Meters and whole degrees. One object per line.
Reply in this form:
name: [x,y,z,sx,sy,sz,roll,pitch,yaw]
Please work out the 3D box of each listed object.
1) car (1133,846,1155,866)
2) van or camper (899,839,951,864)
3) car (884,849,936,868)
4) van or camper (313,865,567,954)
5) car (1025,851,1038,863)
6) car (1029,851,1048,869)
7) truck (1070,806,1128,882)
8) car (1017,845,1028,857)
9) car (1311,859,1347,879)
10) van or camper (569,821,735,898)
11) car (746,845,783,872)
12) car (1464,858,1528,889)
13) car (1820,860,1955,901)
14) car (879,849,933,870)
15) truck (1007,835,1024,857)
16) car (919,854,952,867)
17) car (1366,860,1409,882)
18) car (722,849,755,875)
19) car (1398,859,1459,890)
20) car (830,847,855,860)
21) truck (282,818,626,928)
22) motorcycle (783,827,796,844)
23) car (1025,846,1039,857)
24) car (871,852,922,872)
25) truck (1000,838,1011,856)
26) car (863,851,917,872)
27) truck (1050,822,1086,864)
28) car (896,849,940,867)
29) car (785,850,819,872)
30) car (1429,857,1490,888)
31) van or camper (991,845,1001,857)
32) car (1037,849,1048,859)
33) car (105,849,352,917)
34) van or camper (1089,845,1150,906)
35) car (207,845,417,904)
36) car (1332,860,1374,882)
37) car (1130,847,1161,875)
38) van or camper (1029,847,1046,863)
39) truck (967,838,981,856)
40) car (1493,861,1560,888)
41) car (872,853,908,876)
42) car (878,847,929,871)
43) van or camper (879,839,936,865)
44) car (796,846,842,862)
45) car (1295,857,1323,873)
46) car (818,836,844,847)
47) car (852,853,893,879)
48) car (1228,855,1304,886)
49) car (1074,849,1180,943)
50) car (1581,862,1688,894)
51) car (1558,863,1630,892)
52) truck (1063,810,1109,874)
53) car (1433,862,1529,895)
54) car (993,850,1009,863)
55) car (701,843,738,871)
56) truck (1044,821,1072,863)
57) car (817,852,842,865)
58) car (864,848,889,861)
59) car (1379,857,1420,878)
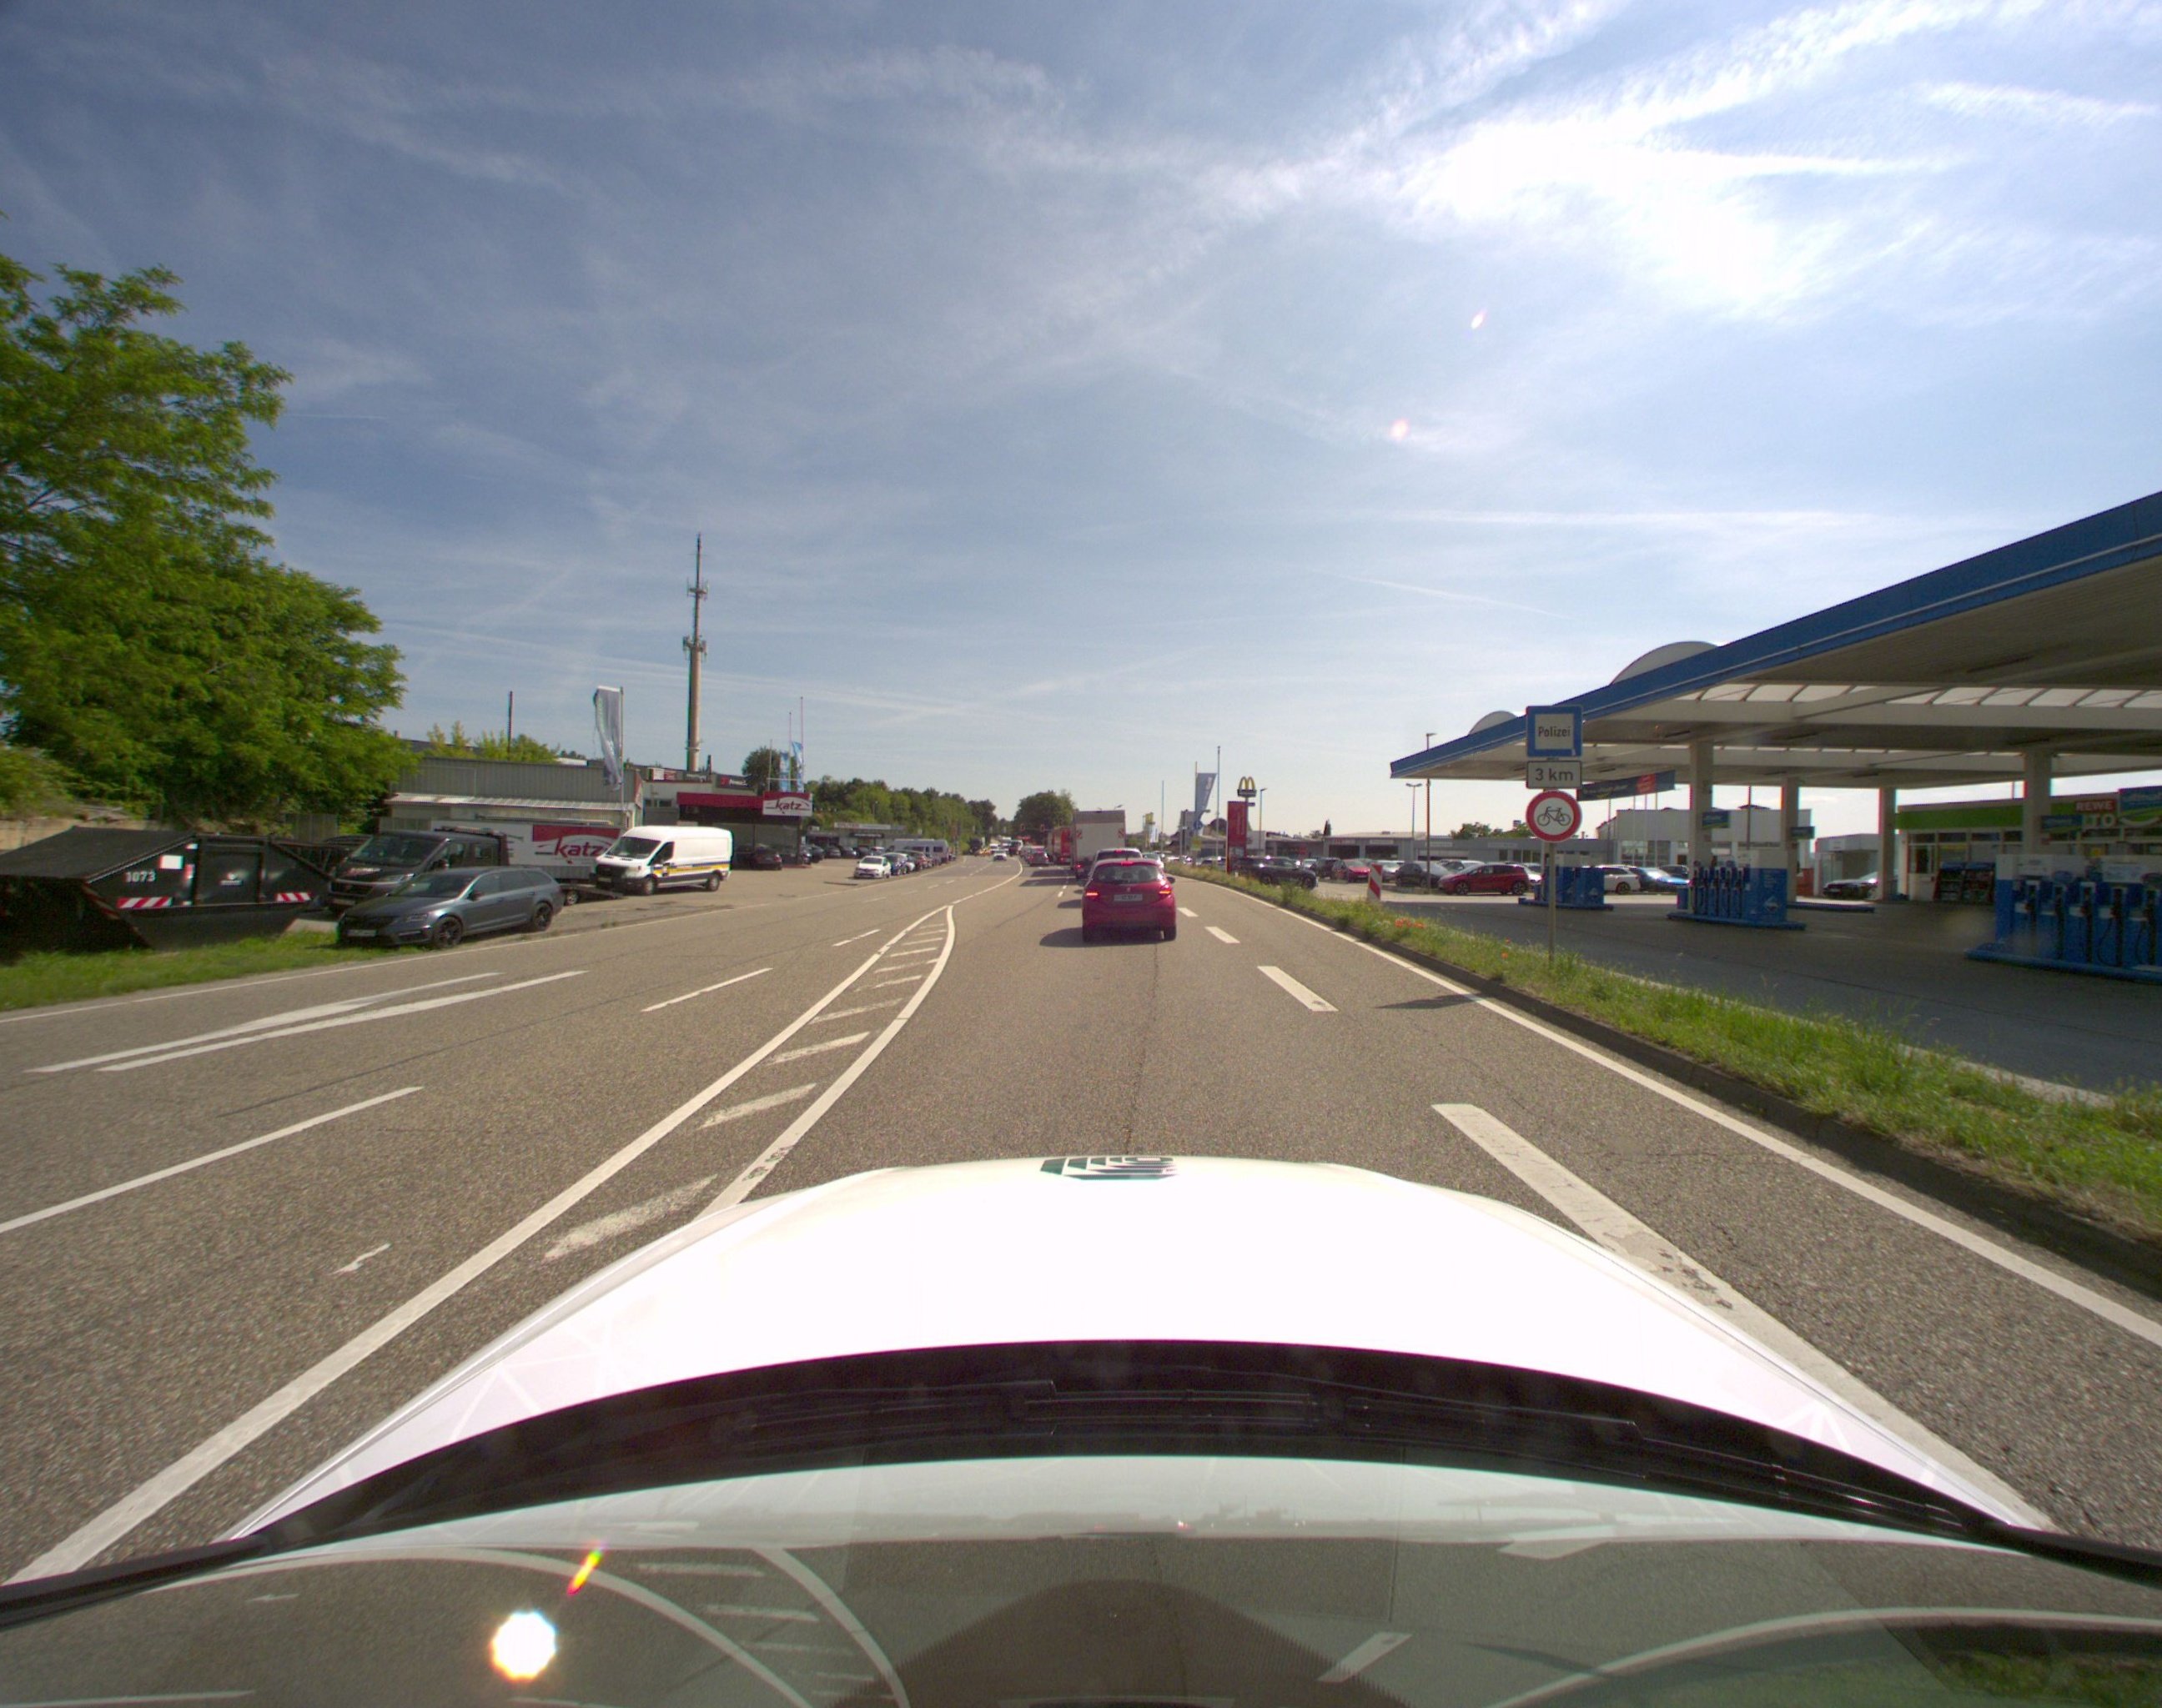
car: [5.973,0.198,77.700,1.985,1.750,4.004,1,0,4]
van or camper: [-16.820,-0.267,87.972,5.234,2.731,2.208,0,0,-4]
car: [-15.684,0.423,74.965,4.453,1.484,1.768,4,0,-7]
van or camper: [-13.004,1.026,16.966,1.634,1.524,4.468,1,0,1]
car: [-6.393,0.440,105.259,1.723,1.519,3.307,1,0,-4]
car: [-4.110,0.582,79.173,1.785,1.638,3.502,0,0,-1]
truck: [0.801,-0.515,46.335,2.871,3.811,11.136,0,0,-1]
car: [-9.918,-0.491,138.011,1.722,1.909,3.310,1,0,-1]
car: [18.608,1.101,61.263,1.554,1.409,3.593,-1,0,-2]
van or camper: [-15.944,0.170,30.803,2.141,2.499,5.968,4,1,11]
car: [-21.149,0.270,54.355,1.863,1.504,4.359,3,1,-26]
car: [23.702,1.085,46.707,1.609,1.594,3.858,-1,0,-2]
car: [34.117,1.097,34.531,3.971,1.637,1.755,1,0,2]
car: [-15.082,0.443,70.268,4.272,1.484,1.832,4,0,-7]
truck: [-12.805,-1.602,160.228,2.950,4.208,10.634,-2,1,-3]
car: [-17.486,0.753,97.928,3.811,1.539,1.839,0,0,-6]
car: [21.098,1.140,56.169,1.554,1.409,3.593,-1,0,-2]
car: [-24.994,0.572,59.403,1.709,1.759,3.726,4,-1,-29]
car: [18.905,1.087,44.503,1.609,1.594,3.858,-1,0,-2]
car: [-29.605,-0.019,101.107,1.777,1.588,3.786,-1,0,-38]
truck: [-16.572,0.411,22.723,2.321,2.297,8.808,5,0,2]
motorcycle: [-22.544,-1.411,62.934,0.773,1.261,2.038,0,0,-25]
car: [-6.966,-0.380,115.432,1.721,1.519,3.312,1,0,0]
car: [-14.610,0.630,64.599,3.703,1.525,1.788,-1,0,-7]
truck: [-18.724,-1.783,203.132,2.548,4.307,7.583,-1,1,-5]
car: [-14.629,0.551,62.440,3.791,1.525,1.843,0,0,-7]
truck: [-1.644,-1.149,91.236,2.952,4.269,16.557,0,0,-5]
car: [-15.558,0.358,77.926,3.840,1.484,1.798,4,0,-7]
car: [-23.144,0.595,67.550,1.832,1.675,4.088,6,-4,-29]
car: [21.260,1.015,45.936,1.554,1.594,3.858,-1,0,-2]
van or camper: [-18.537,-0.695,177.187,2.170,2.551,4.163,1,0,-5]
car: [-6.370,-0.012,134.118,1.724,1.519,3.306,1,-1,-5]
car: [-19.962,0.657,19.257,3.662,1.511,1.710,0,0,-13]
van or camper: [1.162,0.637,26.529,1.741,1.787,5.133,0,0,0]
car: [-20.364,0.515,21.765,3.673,1.469,1.727,0,0,-21]
car: [18.738,1.172,56.227,1.554,1.409,3.593,-1,0,-2]
car: [4.304,0.474,54.556,1.985,1.750,4.004,1,0,4]
van or camper: [-5.253,0.099,97.503,1.849,1.905,3.778,1,0,-5]
truck: [-23.564,-1.514,179.076,2.812,3.786,6.969,-1,1,-8]
car: [25.505,1.151,46.749,1.609,1.443,3.858,-1,0,-2]
car: [-13.781,0.729,58.880,1.775,1.494,3.778,4,0,-2]
car: [-14.622,0.381,67.267,3.881,1.716,1.803,4,0,-7]
van or camper: [-19.210,-0.250,90.296,5.882,2.873,2.286,0,1,-5]
car: [-25.161,-0.031,78.253,3.960,1.532,1.753,-1,0,-28]
car: [21.245,1.032,75.940,1.554,1.409,3.593,-1,0,-2]
car: [-34.069,-1.656,110.941,3.702,1.450,1.746,0,-1,44]
car: [-13.348,0.744,52.361,1.775,1.618,3.996,1,0,-2]
car: [9.402,0.827,41.396,3.602,1.409,1.550,-1,0,-26]
car: [0.853,0.727,15.868,1.794,1.572,3.715,-1,0,2]
car: [27.474,1.177,40.487,4.316,1.494,1.562,0,0,-2]
car: [27.677,1.245,44.053,1.554,1.409,3.593,-1,0,-2]
truck: [0.172,-0.863,62.436,2.883,4.266,16.696,0,0,-2]
car: [19.799,1.172,40.421,3.887,1.572,1.808,0,0,2]
car: [-11.312,0.328,114.843,1.930,1.674,3.998,-2,0,-2]
car: [-23.500,0.146,52.808,1.863,1.504,3.965,4,1,-28]
truck: [-3.301,-1.581,111.999,3.057,5.220,16.979,0,0,-5]
car: [-30.704,0.518,99.366,1.777,1.588,3.786,-1,0,-38]
car: [-26.405,0.037,105.014,1.777,1.588,3.786,-1,0,-38]
car: [23.765,0.990,60.853,1.554,1.409,3.687,-1,0,-2]
